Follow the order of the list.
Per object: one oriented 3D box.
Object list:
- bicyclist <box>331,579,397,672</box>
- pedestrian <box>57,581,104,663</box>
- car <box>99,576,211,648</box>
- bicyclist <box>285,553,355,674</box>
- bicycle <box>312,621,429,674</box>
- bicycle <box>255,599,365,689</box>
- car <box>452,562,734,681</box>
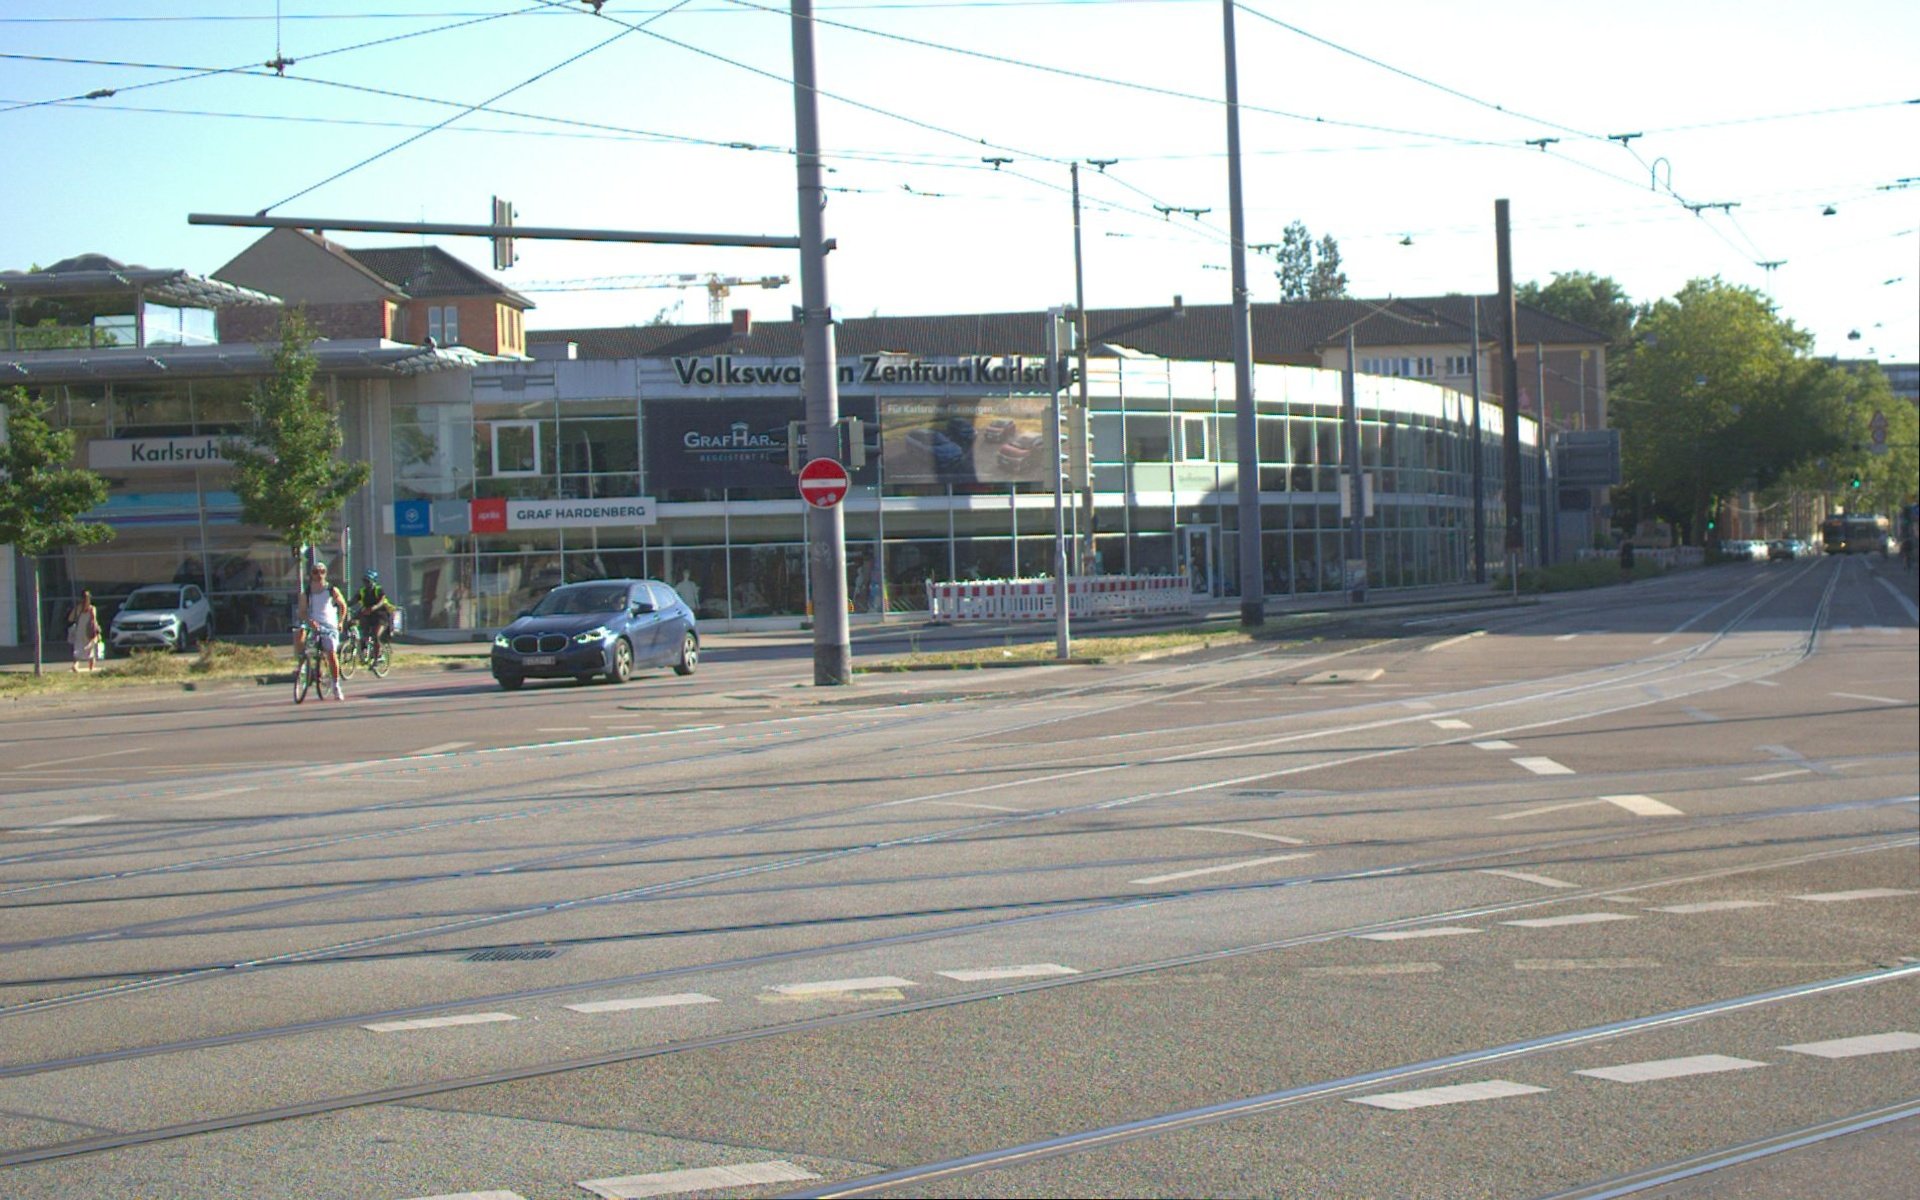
[{"bbox_3d":[-10.076,0.426,58.162,0.655,1.567,0.921,0,0,31],"label":"bicyclist"},{"bbox_3d":[-18.115,0.456,70.808,0.856,1.688,0.497,0,0,-1],"label":"pedestrian"},{"bbox_3d":[-20.124,0.302,86.038,1.993,1.744,4.000,0,0,-2],"label":"car"},{"bbox_3d":[-8.640,0.180,46.415,0.598,1.610,0.822,0,0,19],"label":"bicyclist"},{"bbox_3d":[-9.984,0.795,58.292,0.639,0.867,2.231,0,0,31],"label":"bicycle"},{"bbox_3d":[-8.716,0.581,46.187,0.613,1.185,1.867,0,0,19],"label":"bicycle"},{"bbox_3d":[-5.064,0.294,47.928,1.997,1.579,3.994,0,0,28],"label":"car"}]
